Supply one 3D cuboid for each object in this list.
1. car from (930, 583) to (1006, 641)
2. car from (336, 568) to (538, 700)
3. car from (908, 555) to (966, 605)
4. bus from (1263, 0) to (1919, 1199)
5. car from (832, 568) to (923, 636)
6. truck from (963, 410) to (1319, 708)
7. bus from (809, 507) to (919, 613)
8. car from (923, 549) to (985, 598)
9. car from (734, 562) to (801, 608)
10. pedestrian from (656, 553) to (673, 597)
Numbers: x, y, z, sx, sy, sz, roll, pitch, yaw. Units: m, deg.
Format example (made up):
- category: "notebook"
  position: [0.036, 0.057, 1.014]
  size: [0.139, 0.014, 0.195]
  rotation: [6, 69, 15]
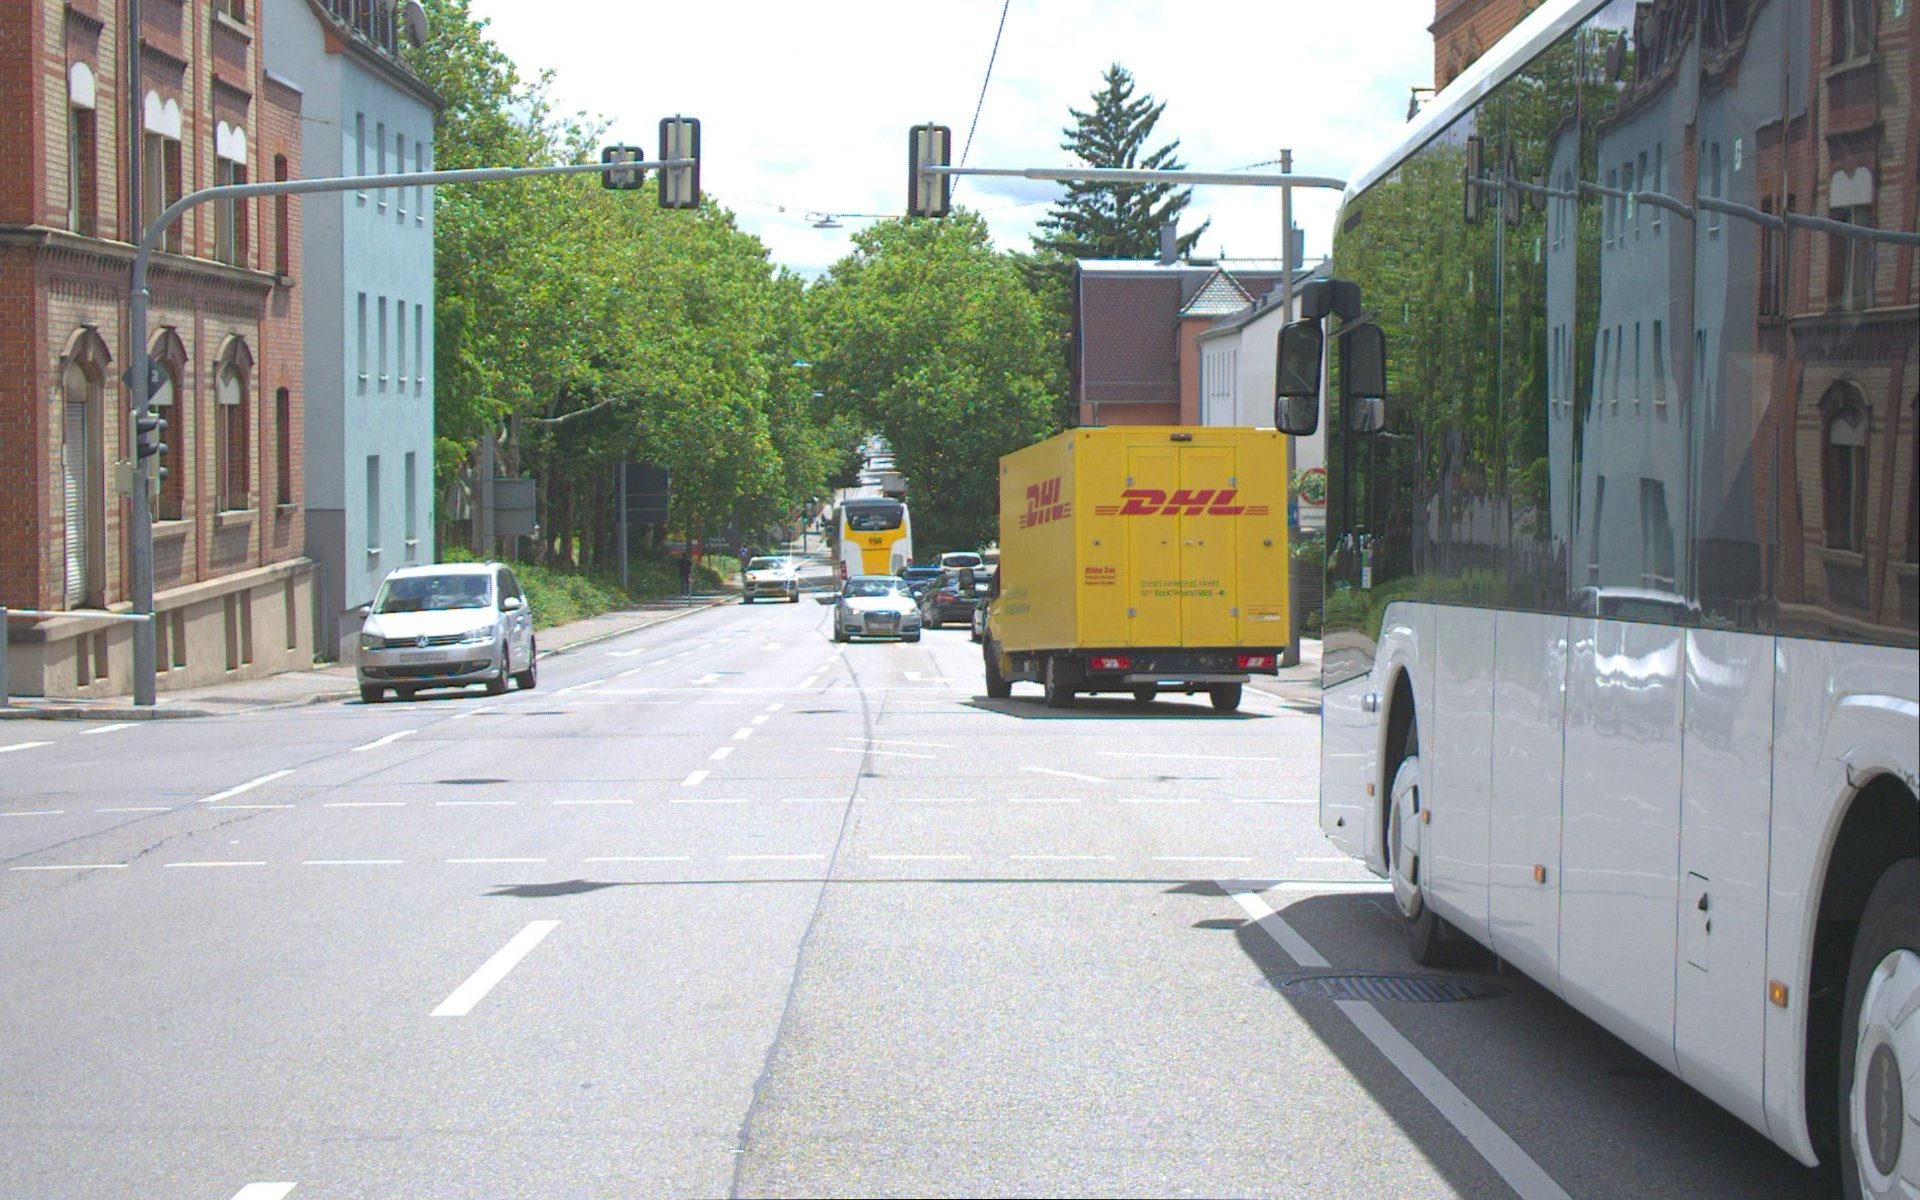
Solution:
- category: "car"
  position: [0.170, 0.282, 87.722]
  size: [1.865, 1.363, 4.547]
  rotation: [-1, 1, -1]
- category: "car"
  position: [-6.587, 0.390, 43.752]
  size: [1.935, 1.558, 4.389]
  rotation: [-1, 1, -1]
- category: "car"
  position: [-0.655, -0.577, 97.939]
  size: [1.608, 1.371, 4.000]
  rotation: [0, 1, -1]
- category: "bus"
  position: [2.925, -0.352, 9.363]
  size: [2.904, 3.498, 12.488]
  rotation: [1, 1, -1]
- category: "car"
  position: [-1.739, 0.023, 73.687]
  size: [1.865, 1.363, 4.547]
  rotation: [-1, 1, -1]
- category: "truck"
  position: [1.791, -0.434, 37.074]
  size: [2.540, 2.903, 6.574]
  rotation: [1, 1, -8]
- category: "bus"
  position: [-3.572, -1.476, 125.120]
  size: [3.300, 3.618, 11.246]
  rotation: [-1, 1, -5]
- category: "car"
  position: [-0.247, -1.005, 129.410]
  size: [2.091, 1.824, 4.143]
  rotation: [0, 1, -4]
- category: "car"
  position: [-6.962, -0.557, 124.751]
  size: [2.207, 1.607, 4.547]
  rotation: [-1, 1, -1]
- category: "pedestrian"
  position: [-11.721, -1.001, 136.402]
  size: [0.606, 1.752, 0.654]
  rotation: [-1, 1, -2]
